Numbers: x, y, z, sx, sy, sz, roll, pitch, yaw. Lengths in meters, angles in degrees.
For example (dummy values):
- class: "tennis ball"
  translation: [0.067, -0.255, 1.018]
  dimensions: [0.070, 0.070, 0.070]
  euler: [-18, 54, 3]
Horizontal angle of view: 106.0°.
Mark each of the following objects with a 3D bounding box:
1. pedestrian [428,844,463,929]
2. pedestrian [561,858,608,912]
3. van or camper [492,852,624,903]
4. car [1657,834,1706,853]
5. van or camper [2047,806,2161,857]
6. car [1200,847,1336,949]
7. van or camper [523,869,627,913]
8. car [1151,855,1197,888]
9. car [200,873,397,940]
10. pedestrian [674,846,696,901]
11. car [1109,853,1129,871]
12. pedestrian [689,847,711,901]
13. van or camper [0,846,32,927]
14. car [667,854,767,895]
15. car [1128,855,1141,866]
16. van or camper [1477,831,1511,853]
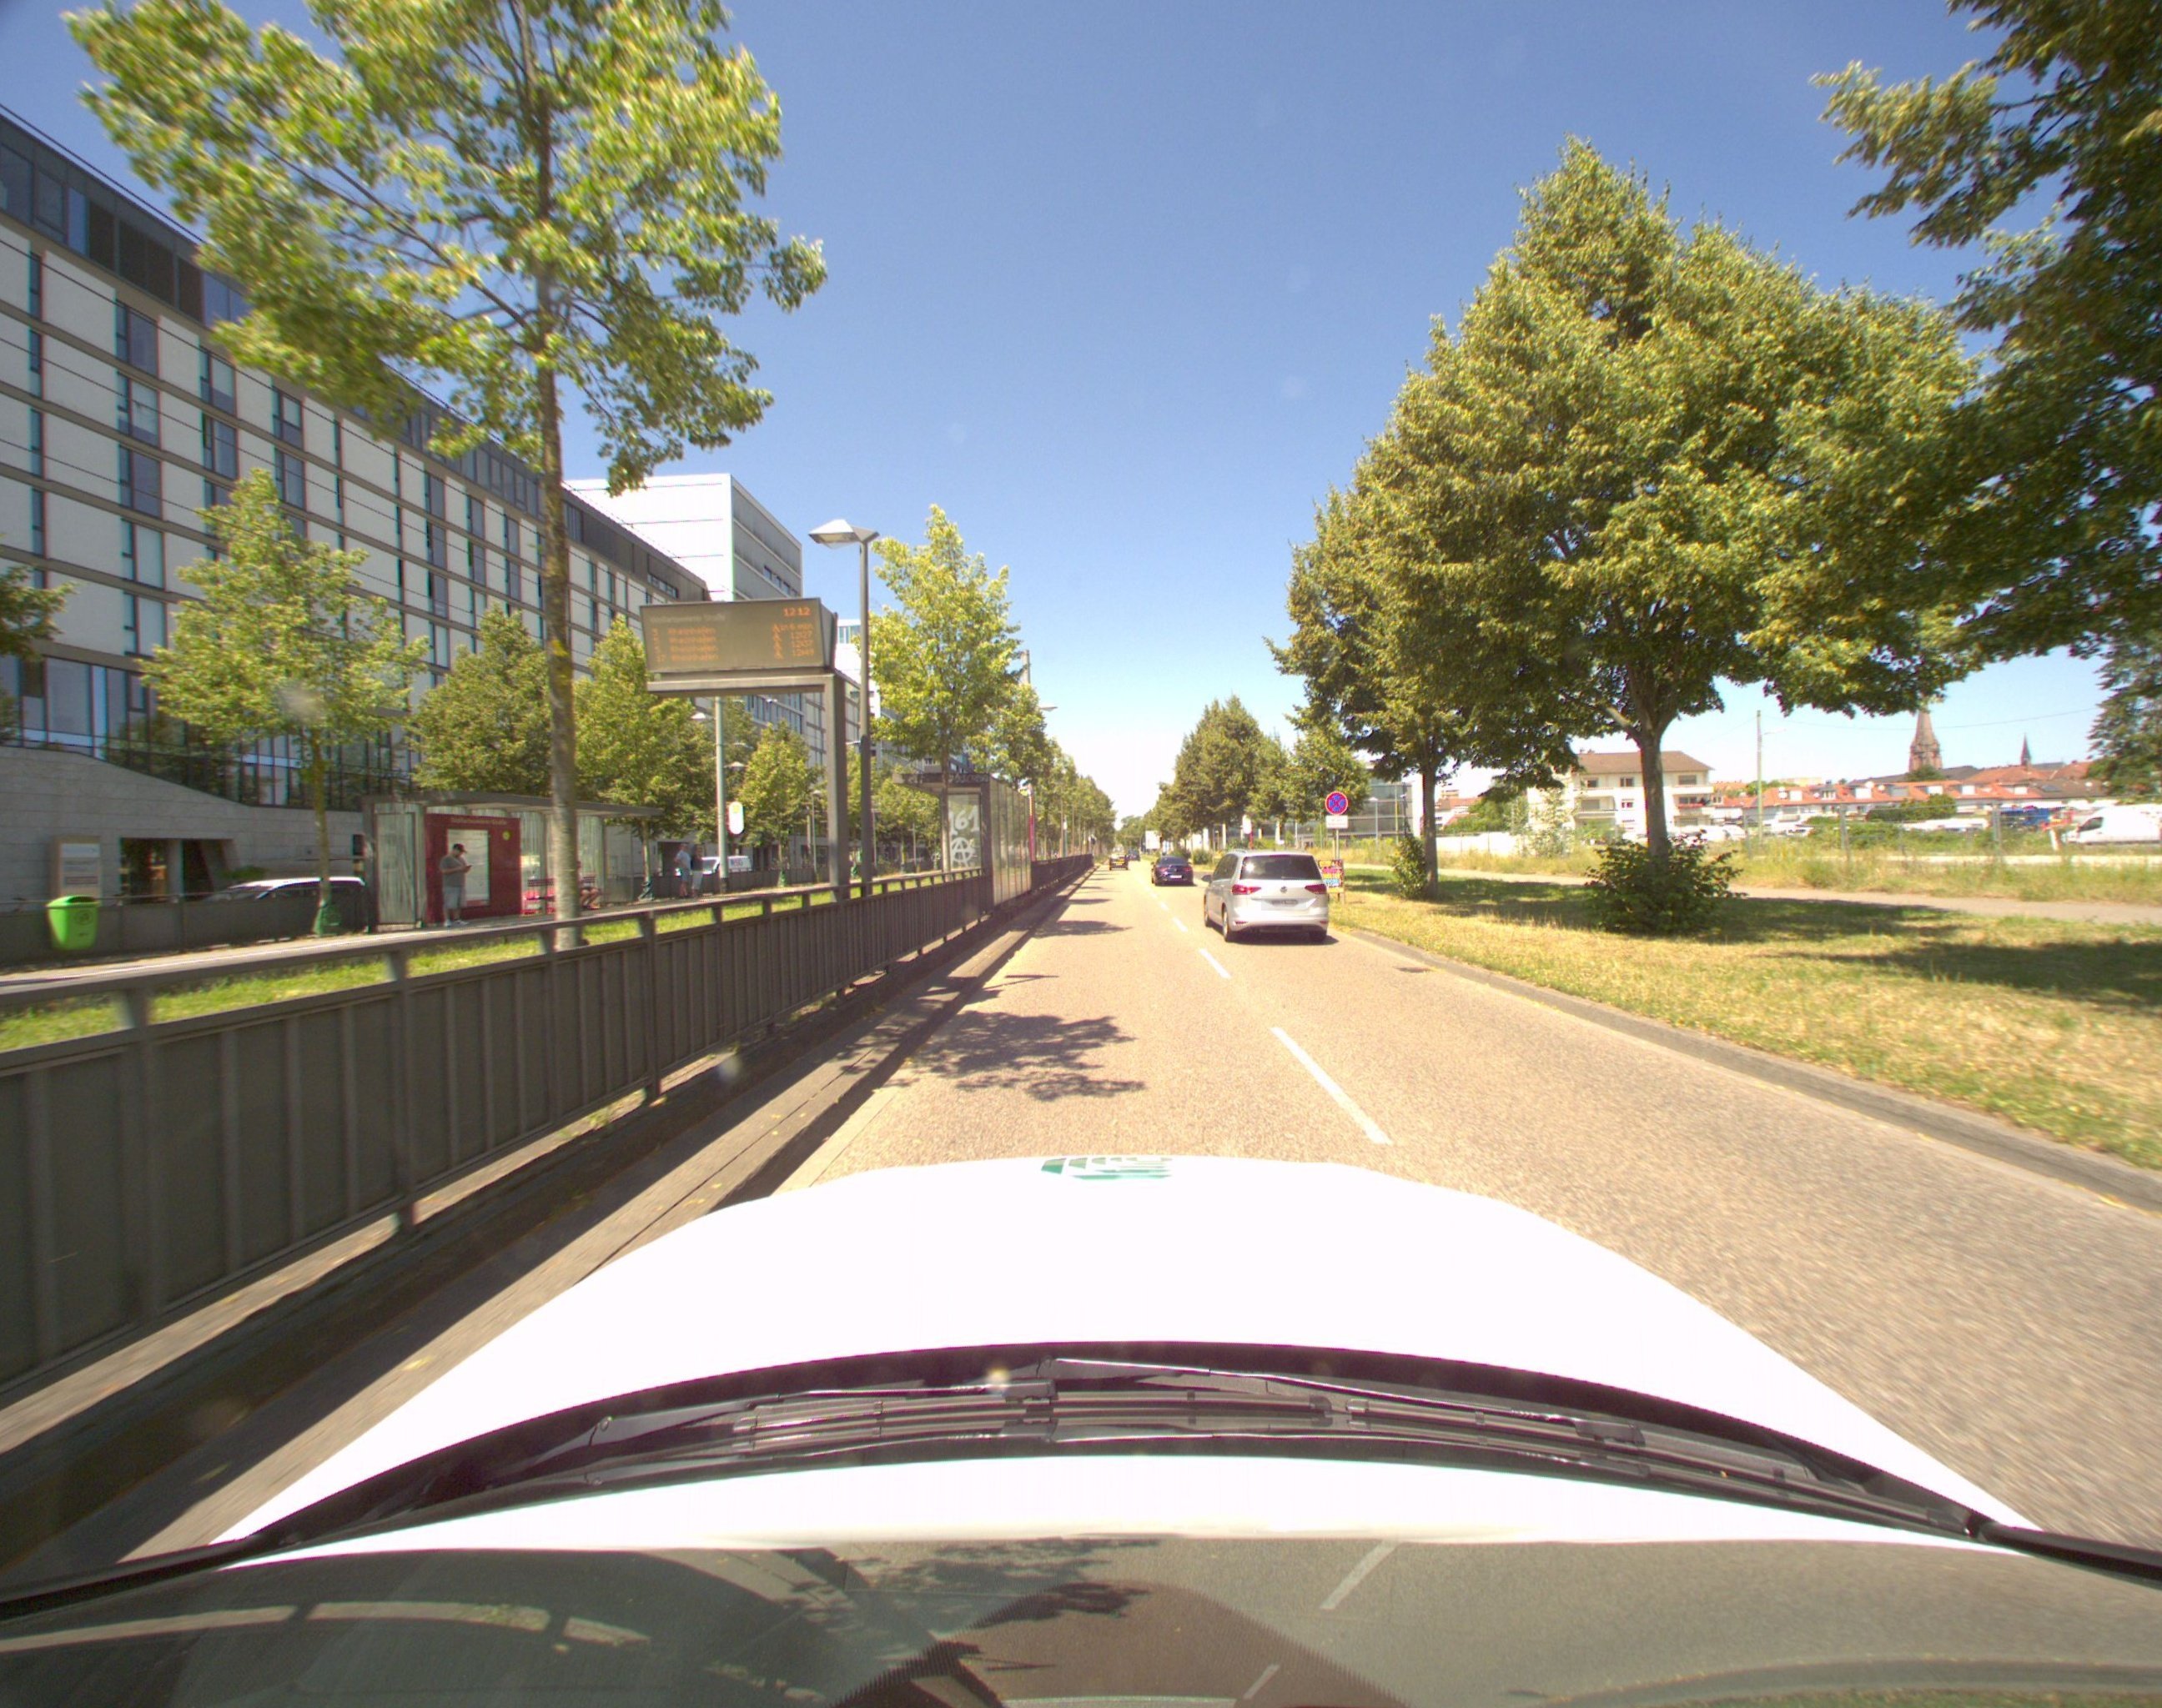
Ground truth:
- class: "pedestrian"
  translation: [-13.241, 0.673, 16.973]
  dimensions: [0.468, 1.739, 0.474]
  euler: [-1, -1, -27]
- class: "pedestrian"
  translation: [-13.314, 0.813, 21.865]
  dimensions: [0.831, 1.413, 0.642]
  euler: [-1, -1, 1]
- class: "van or camper"
  translation: [-26.666, 1.121, 41.964]
  dimensions: [2.168, 2.386, 6.775]
  euler: [-1, 0, 2]
- class: "car"
  translation: [54.592, -0.924, 74.108]
  dimensions: [1.670, 1.586, 3.619]
  euler: [-3, -1, -2]
- class: "van or camper"
  translation: [55.267, -1.148, 42.285]
  dimensions: [1.917, 2.602, 7.001]
  euler: [-1, 0, 0]
- class: "car"
  translation: [3.430, 0.705, 15.811]
  dimensions: [1.793, 1.648, 4.608]
  euler: [1, 1, 3]
- class: "van or camper"
  translation: [-18.137, 1.280, 29.351]
  dimensions: [1.470, 1.427, 3.430]
  euler: [-1, 0, 2]
- class: "car"
  translation: [4.391, 0.820, 39.057]
  dimensions: [1.844, 1.436, 4.959]
  euler: [-2, -1, 3]
- class: "car"
  translation: [-21.764, 1.386, 22.899]
  dimensions: [1.564, 1.616, 3.964]
  euler: [-2, 0, 3]
- class: "pedestrian"
  translation: [-12.846, 0.620, 26.418]
  dimensions: [0.408, 1.752, 0.586]
  euler: [-1, -1, -1]
- class: "car"
  translation: [3.228, 0.730, 69.625]
  dimensions: [1.612, 1.451, 3.987]
  euler: [-2, -1, 1]
- class: "pedestrian"
  translation: [-12.708, 0.656, 27.168]
  dimensions: [0.408, 1.752, 0.586]
  euler: [-1, -1, -1]
- class: "van or camper"
  translation: [-39.036, 1.149, 25.958]
  dimensions: [2.368, 2.822, 6.785]
  euler: [-1, -1, 0]
- class: "car"
  translation: [-17.630, 0.941, 39.769]
  dimensions: [2.453, 1.806, 5.072]
  euler: [-2, 0, 2]
- class: "car"
  translation: [8.060, 0.933, 123.881]
  dimensions: [1.760, 1.627, 3.716]
  euler: [-1, -1, 1]
- class: "van or camper"
  translation: [54.519, -1.586, 107.656]
  dimensions: [1.988, 2.802, 4.658]
  euler: [-1, 0, -2]
